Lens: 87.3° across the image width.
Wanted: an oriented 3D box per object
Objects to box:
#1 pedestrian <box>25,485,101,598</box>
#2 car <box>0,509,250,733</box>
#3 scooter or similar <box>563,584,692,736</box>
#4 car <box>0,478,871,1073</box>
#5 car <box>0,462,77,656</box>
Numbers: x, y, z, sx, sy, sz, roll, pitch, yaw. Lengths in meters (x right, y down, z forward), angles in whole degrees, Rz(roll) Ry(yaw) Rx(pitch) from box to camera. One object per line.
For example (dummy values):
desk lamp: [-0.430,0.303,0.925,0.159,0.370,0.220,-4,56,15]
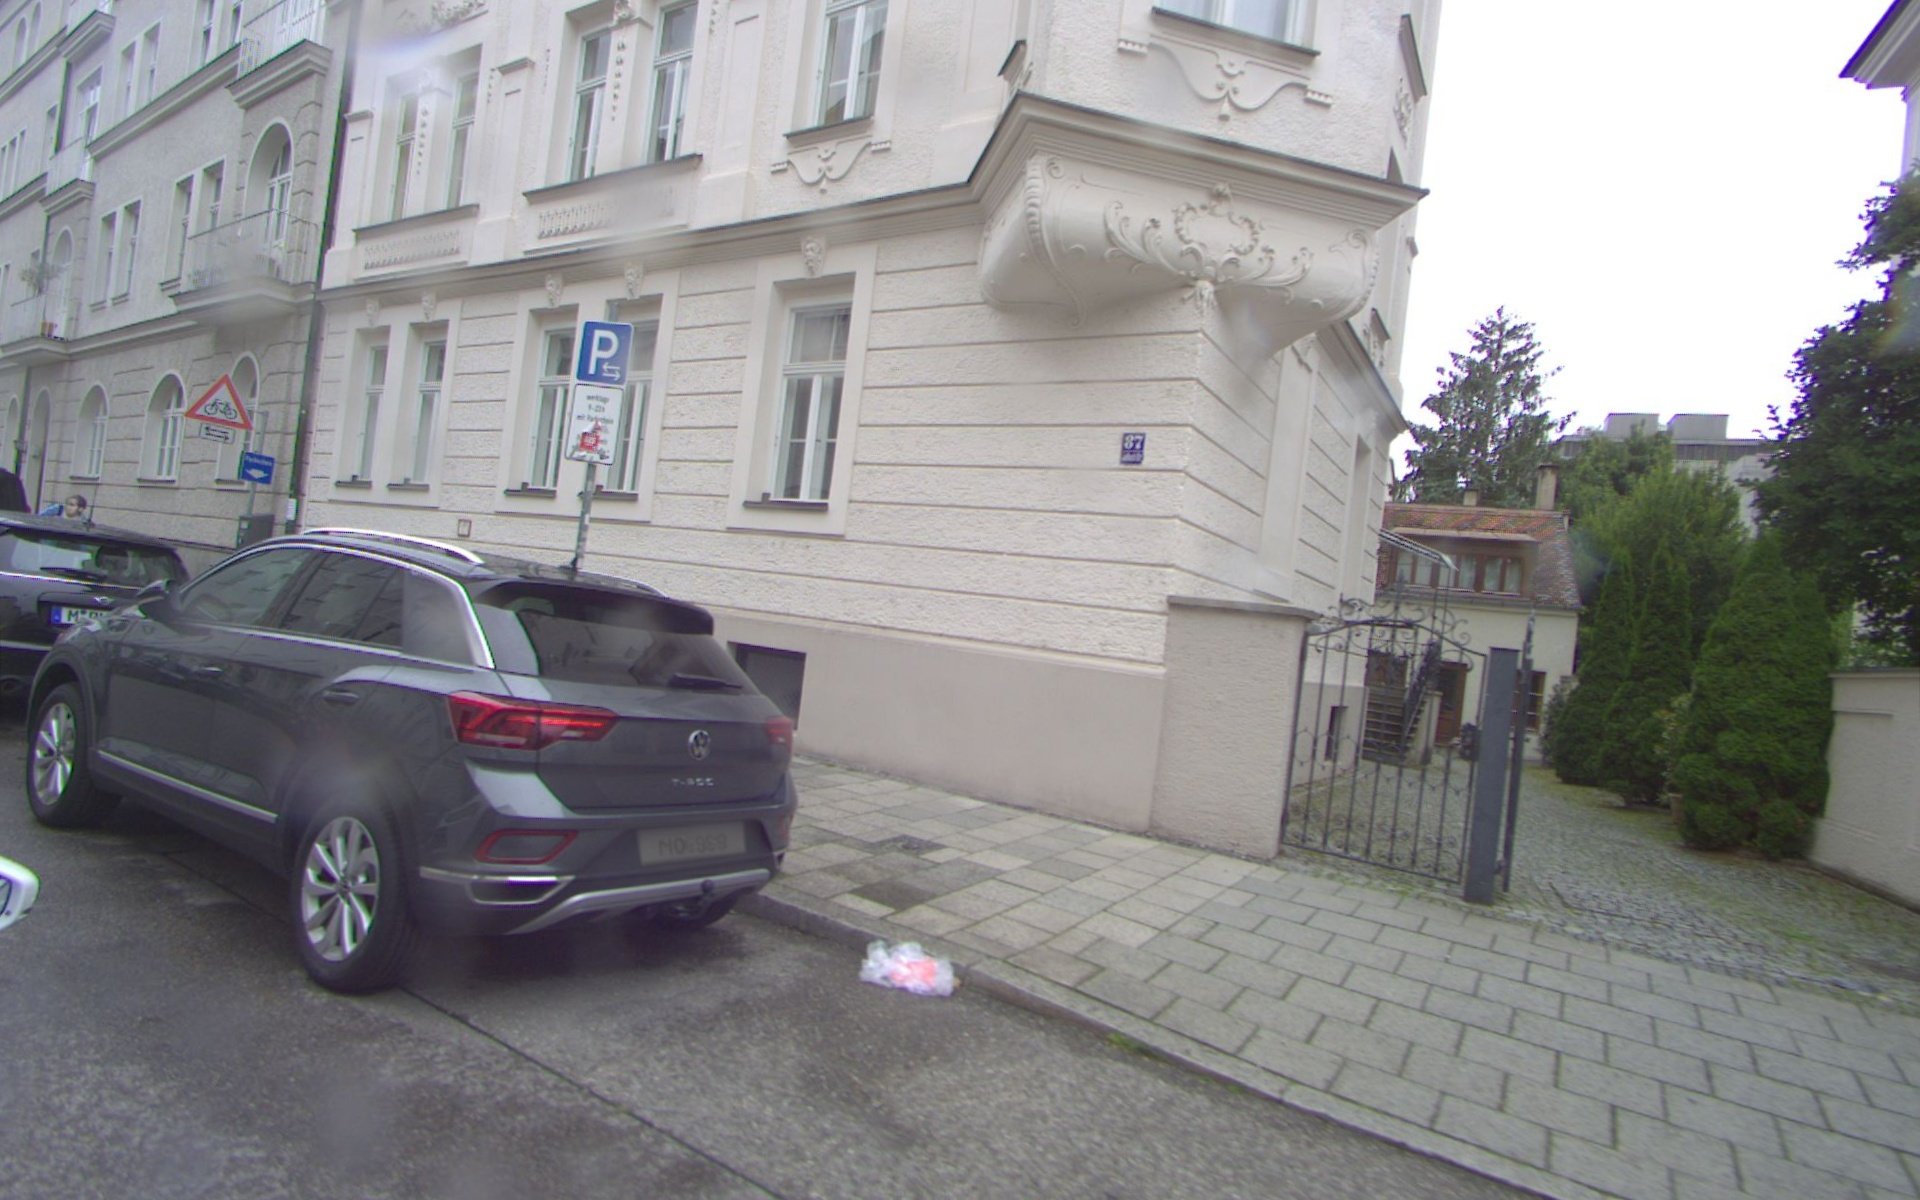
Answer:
pedestrian: [-14.288,-0.921,16.027,0.643,1.696,0.680,7,2,31]
car: [-7.280,0.046,7.826,3.526,1.411,1.666,6,-3,35]
scooter or similar: [-3.248,0.552,9.768,1.333,1.304,0.505,6,2,42]
car: [-2.589,0.473,4.685,3.934,1.606,1.711,7,-2,32]
car: [-11.828,-0.677,11.008,4.638,1.906,1.915,6,-3,33]
